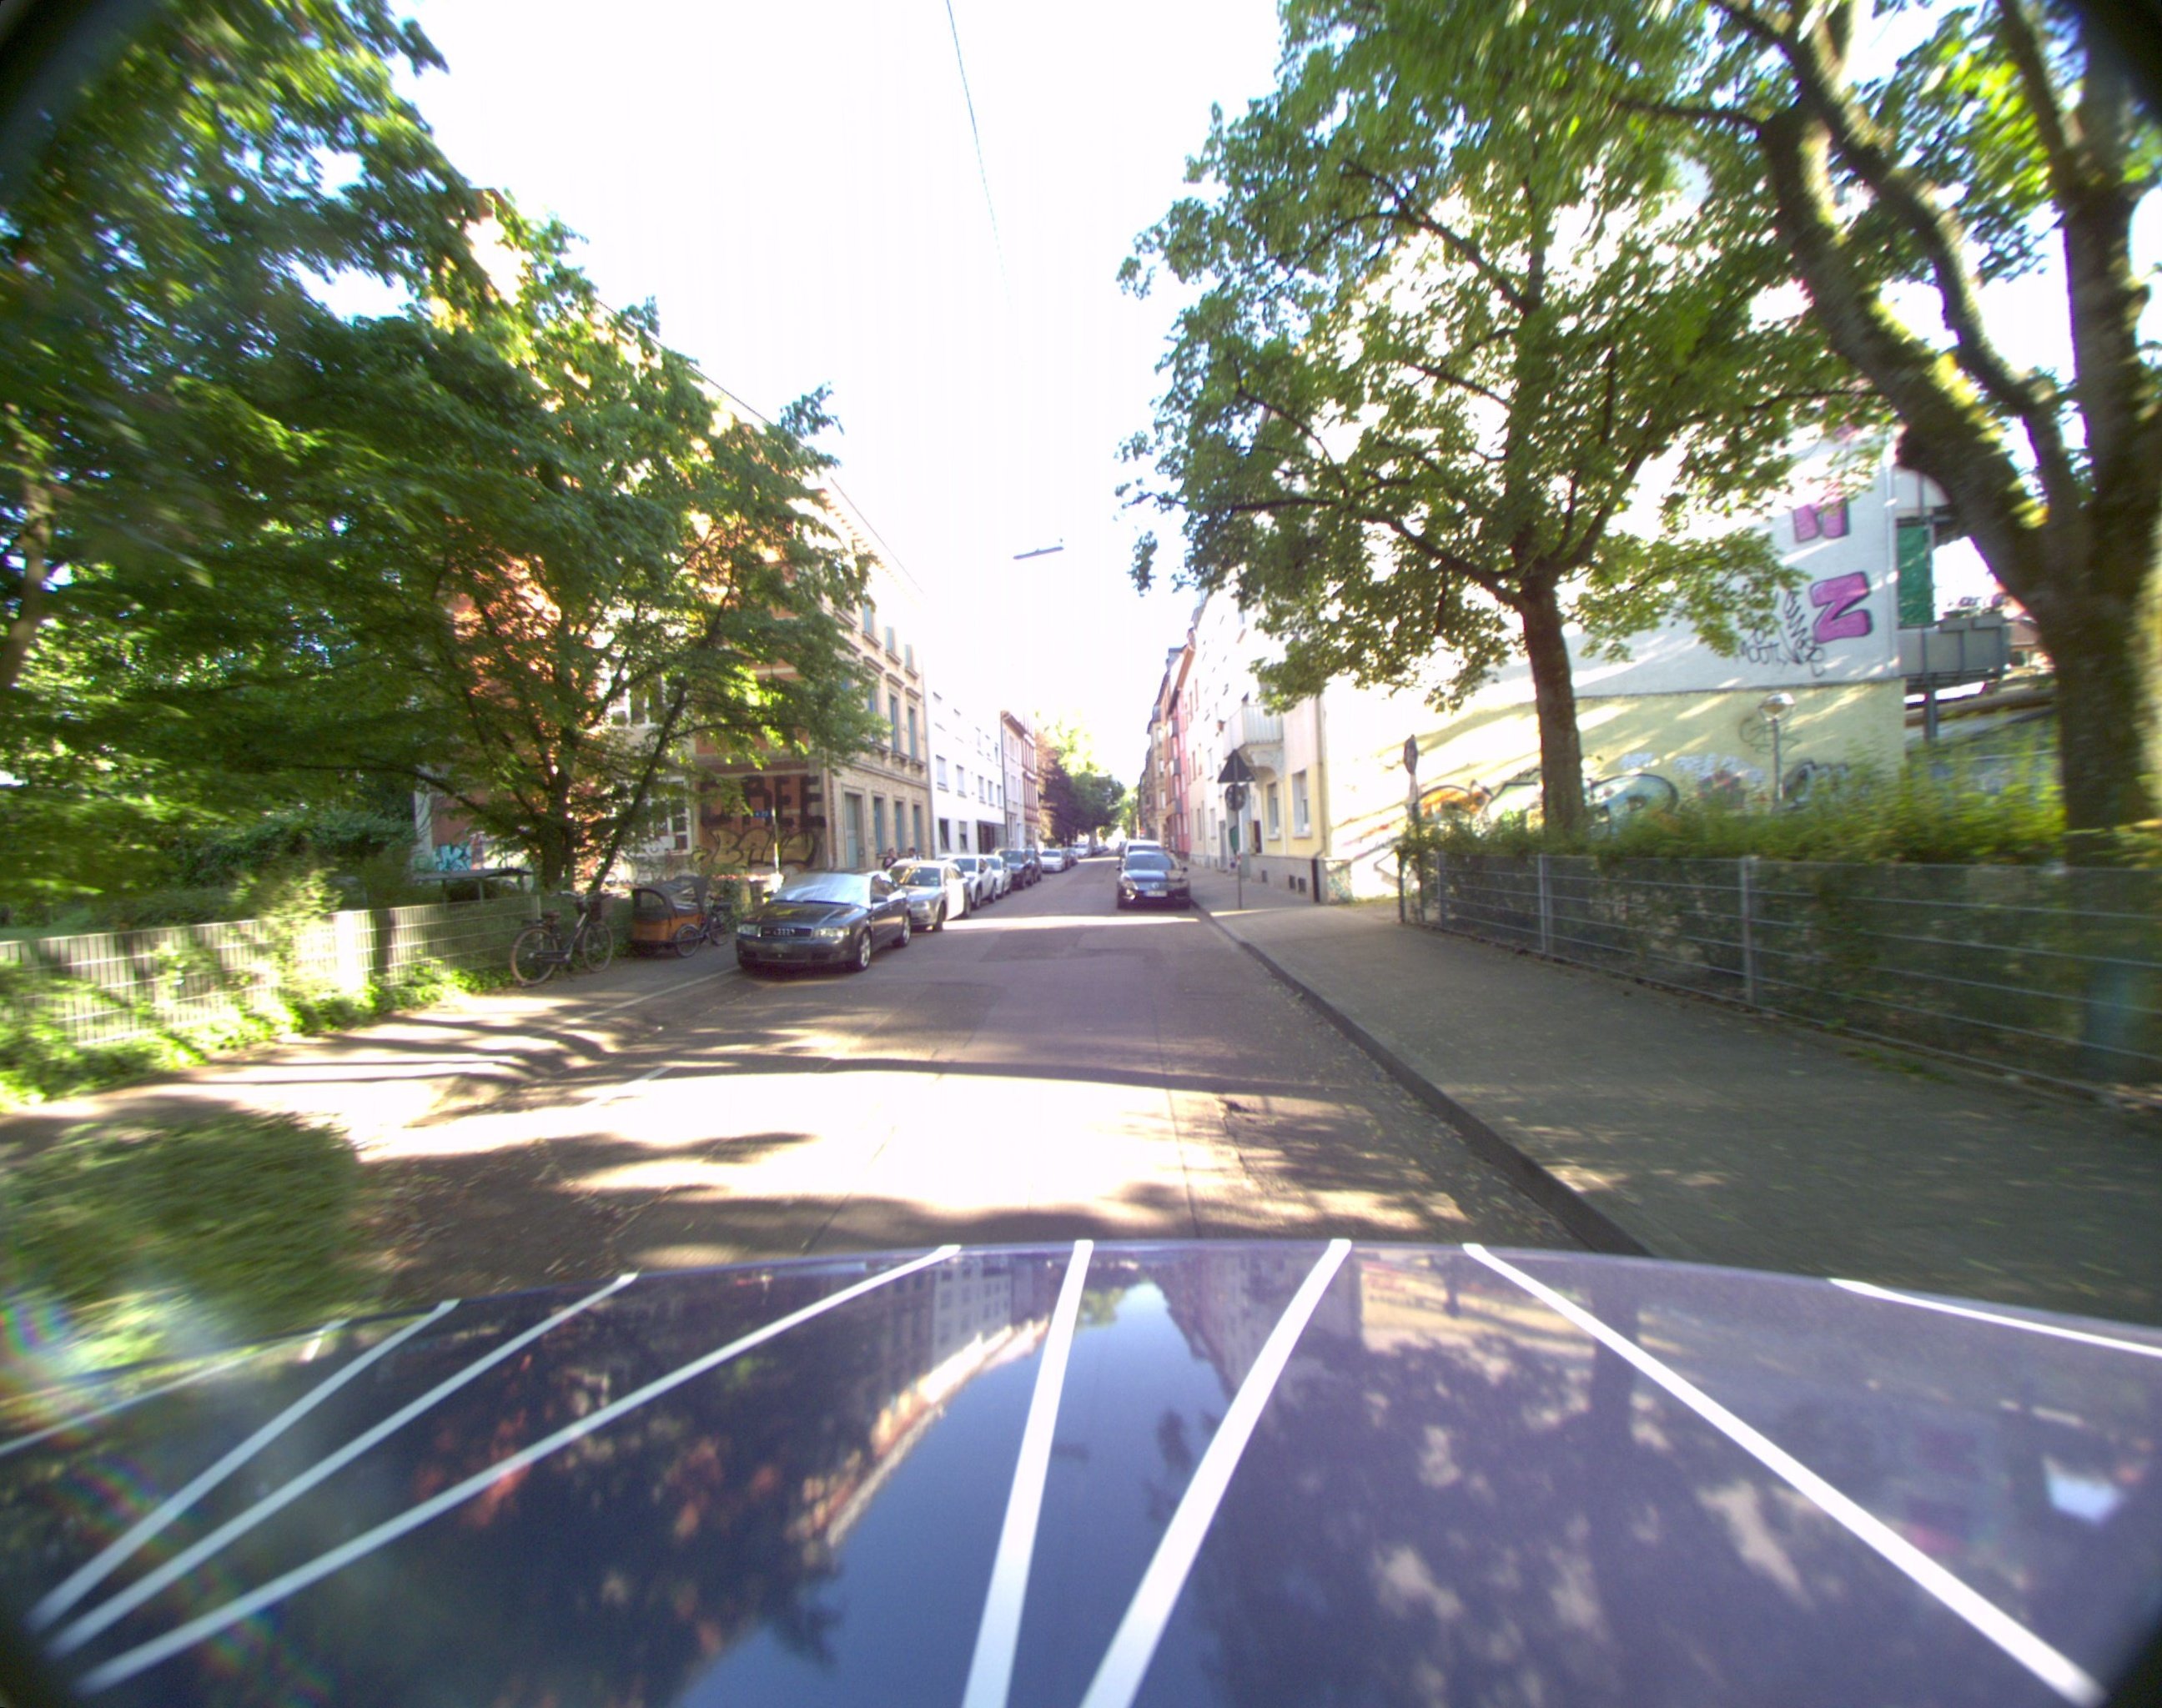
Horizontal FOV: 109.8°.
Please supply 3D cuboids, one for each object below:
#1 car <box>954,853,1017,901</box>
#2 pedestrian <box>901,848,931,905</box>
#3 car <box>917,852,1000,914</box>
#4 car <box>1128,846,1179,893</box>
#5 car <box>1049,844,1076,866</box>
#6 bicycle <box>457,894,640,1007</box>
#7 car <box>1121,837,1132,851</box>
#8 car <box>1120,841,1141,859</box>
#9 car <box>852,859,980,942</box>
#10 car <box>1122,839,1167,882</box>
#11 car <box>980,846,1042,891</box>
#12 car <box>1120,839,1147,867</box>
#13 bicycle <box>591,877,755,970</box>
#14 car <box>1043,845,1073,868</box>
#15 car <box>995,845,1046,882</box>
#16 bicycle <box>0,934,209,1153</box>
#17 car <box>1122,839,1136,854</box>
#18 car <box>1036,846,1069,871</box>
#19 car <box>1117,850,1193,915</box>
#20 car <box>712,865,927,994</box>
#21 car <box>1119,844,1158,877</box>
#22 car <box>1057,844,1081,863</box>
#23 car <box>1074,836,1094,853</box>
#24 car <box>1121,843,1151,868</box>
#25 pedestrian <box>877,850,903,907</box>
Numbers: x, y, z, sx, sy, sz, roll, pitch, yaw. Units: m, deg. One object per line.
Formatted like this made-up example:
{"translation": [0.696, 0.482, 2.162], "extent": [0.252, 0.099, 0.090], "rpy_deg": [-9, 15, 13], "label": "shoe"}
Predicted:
{"translation": [-3.267, 0.745, 26.570], "extent": [1.597, 1.442, 4.002], "rpy_deg": [-1, 1, 1], "label": "car"}
{"translation": [-5.037, 0.684, 23.264], "extent": [0.712, 1.699, 0.752], "rpy_deg": [1, 2, 3], "label": "pedestrian"}
{"translation": [-3.481, 0.778, 22.215], "extent": [1.597, 1.576, 3.764], "rpy_deg": [-1, 1, 3], "label": "car"}
{"translation": [2.441, 0.481, 25.795], "extent": [1.597, 1.442, 3.486], "rpy_deg": [0, 1, 5], "label": "car"}
{"translation": [-1.385, 0.032, 58.085], "extent": [1.768, 1.525, 4.103], "rpy_deg": [-1, 1, 3], "label": "car"}
{"translation": [-6.922, 1.212, 10.047], "extent": [0.848, 1.194, 1.982], "rpy_deg": [-2, 1, 5], "label": "bicycle"}
{"translation": [7.001, -1.559, 117.546], "extent": [1.768, 2.075, 4.263], "rpy_deg": [0, 2, 3], "label": "car"}
{"translation": [4.413, -0.367, 67.940], "extent": [1.768, 1.525, 4.103], "rpy_deg": [0, 1, 3], "label": "car"}
{"translation": [-3.536, 0.936, 17.086], "extent": [1.663, 1.485, 4.353], "rpy_deg": [-1, 1, 3], "label": "car"}
{"translation": [2.735, 0.232, 33.370], "extent": [1.753, 1.731, 4.314], "rpy_deg": [0, 1, 2], "label": "car"}
{"translation": [-2.815, 0.539, 31.336], "extent": [1.770, 1.657, 4.329], "rpy_deg": [-2, 1, 5], "label": "car"}
{"translation": [3.626, -0.117, 52.746], "extent": [1.768, 1.814, 4.103], "rpy_deg": [0, 1, 3], "label": "car"}
{"translation": [-6.684, 1.089, 12.680], "extent": [1.293, 1.294, 2.327], "rpy_deg": [-1, 1, 6], "label": "bicycle"}
{"translation": [-1.556, 0.153, 53.624], "extent": [1.768, 1.525, 4.103], "rpy_deg": [-1, 1, 3], "label": "car"}
{"translation": [-2.822, 0.399, 36.506], "extent": [1.885, 1.657, 4.328], "rpy_deg": [0, 1, 3], "label": "car"}
{"translation": [-7.313, 1.281, 4.564], "extent": [0.848, 1.260, 2.692], "rpy_deg": [-2, 1, 5], "label": "bicycle"}
{"translation": [6.088, -0.990, 96.797], "extent": [1.768, 1.846, 3.993], "rpy_deg": [0, 2, 3], "label": "car"}
{"translation": [-1.780, 0.254, 49.076], "extent": [1.768, 1.509, 4.103], "rpy_deg": [0, 1, 3], "label": "car"}
{"translation": [1.849, 0.664, 20.052], "extent": [1.783, 1.435, 4.392], "rpy_deg": [0, 1, 3], "label": "car"}
{"translation": [-3.851, 1.021, 12.108], "extent": [1.725, 1.485, 4.413], "rpy_deg": [-1, 1, 2], "label": "car"}
{"translation": [2.943, 0.304, 38.306], "extent": [1.674, 1.519, 4.086], "rpy_deg": [0, 1, 8], "label": "car"}
{"translation": [-0.971, -0.077, 63.220], "extent": [1.768, 1.525, 4.103], "rpy_deg": [0, 1, 3], "label": "car"}
{"translation": [0.398, -1.168, 90.477], "extent": [1.865, 1.970, 4.482], "rpy_deg": [0, 2, 6], "label": "car"}
{"translation": [3.386, 0.073, 47.403], "extent": [1.768, 1.464, 3.816], "rpy_deg": [0, 1, 3], "label": "car"}
{"translation": [-5.813, 0.724, 23.135], "extent": [0.598, 1.699, 0.706], "rpy_deg": [1, 2, 3], "label": "pedestrian"}
